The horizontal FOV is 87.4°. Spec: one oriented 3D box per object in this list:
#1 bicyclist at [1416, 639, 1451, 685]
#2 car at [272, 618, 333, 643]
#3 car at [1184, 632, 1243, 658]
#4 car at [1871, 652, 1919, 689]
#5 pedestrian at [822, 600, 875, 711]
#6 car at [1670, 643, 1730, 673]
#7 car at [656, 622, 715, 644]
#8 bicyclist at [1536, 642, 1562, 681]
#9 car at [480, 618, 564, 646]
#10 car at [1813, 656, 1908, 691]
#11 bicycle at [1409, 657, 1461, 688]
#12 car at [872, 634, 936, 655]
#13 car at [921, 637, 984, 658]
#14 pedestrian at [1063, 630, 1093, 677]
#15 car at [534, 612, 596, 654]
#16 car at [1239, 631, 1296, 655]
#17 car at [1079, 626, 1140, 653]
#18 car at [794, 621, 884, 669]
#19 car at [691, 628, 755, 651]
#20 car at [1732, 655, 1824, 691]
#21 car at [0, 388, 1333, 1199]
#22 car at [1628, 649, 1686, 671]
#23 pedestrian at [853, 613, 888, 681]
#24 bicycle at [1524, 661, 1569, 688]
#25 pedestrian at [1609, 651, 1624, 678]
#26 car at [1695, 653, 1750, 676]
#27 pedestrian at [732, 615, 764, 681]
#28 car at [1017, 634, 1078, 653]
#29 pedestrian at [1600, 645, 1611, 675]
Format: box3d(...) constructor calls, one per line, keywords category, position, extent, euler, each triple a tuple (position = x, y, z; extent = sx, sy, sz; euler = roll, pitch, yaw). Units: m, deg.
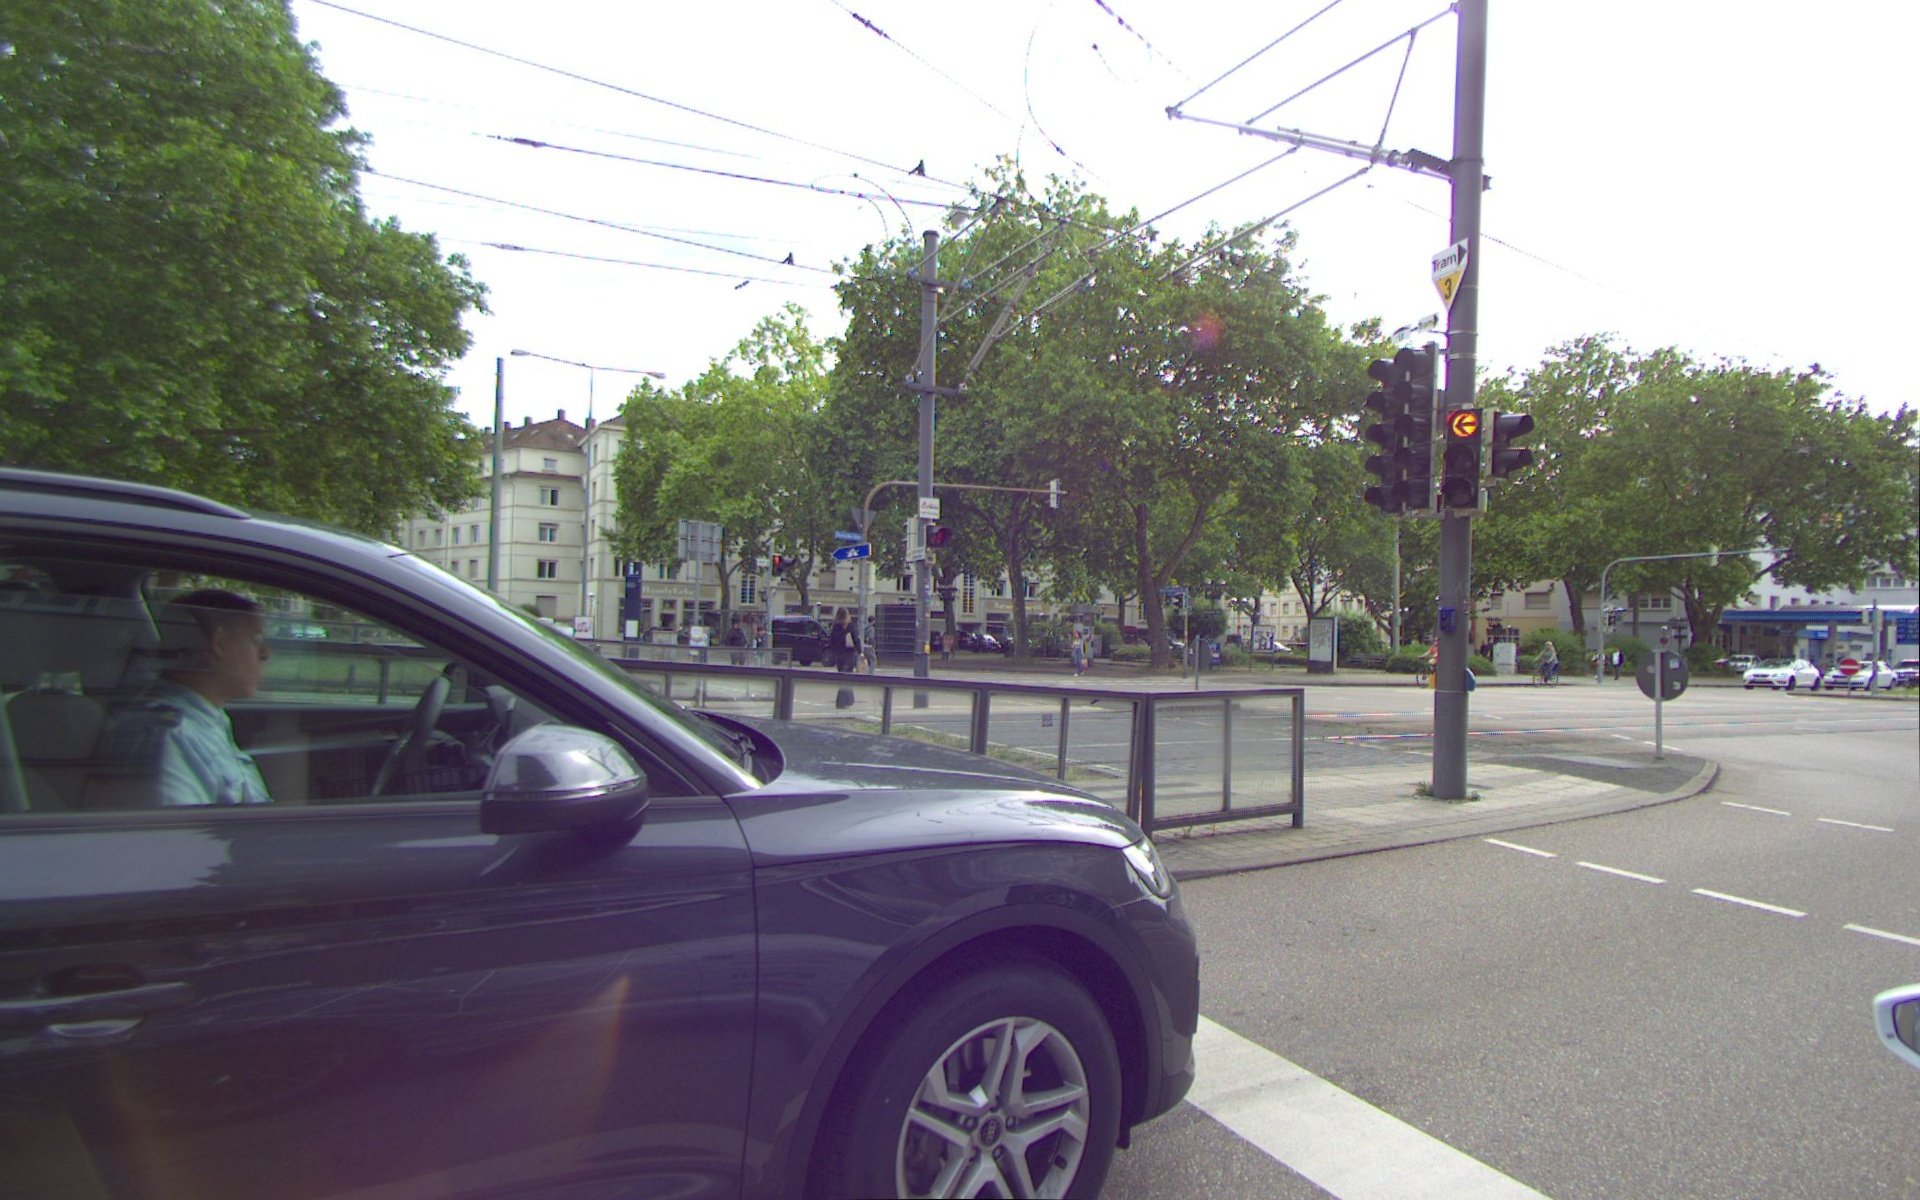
box3d(category="bicyclist", position=(17.234, 2.254, 36.538), extent=(0.983, 1.659, 0.702), euler=(2, -3, -31))
box3d(category="car", position=(-41.046, 1.890, 62.658), extent=(3.932, 1.439, 1.757), euler=(1, -2, 34))
box3d(category="car", position=(22.733, 4.021, 90.146), extent=(4.766, 2.129, 2.071), euler=(0, -2, 44))
box3d(category="car", position=(50.484, 3.732, 53.285), extent=(5.088, 1.807, 1.695), euler=(3, -1, -30))
box3d(category="pedestrian", position=(-1.846, 0.903, 16.572), extent=(0.619, 1.773, 0.652), euler=(2, 0, -28))
box3d(category="car", position=(51.444, 4.030, 69.830), extent=(3.953, 2.040, 1.984), euler=(2, -2, -30))
box3d(category="car", position=(-20.621, 2.489, 75.523), extent=(3.953, 1.505, 1.788), euler=(2, -2, -30))
box3d(category="bicyclist", position=(24.217, 2.540, 41.307), extent=(0.748, 1.582, 0.580), euler=(2, -4, -30))
box3d(category="car", position=(-29.218, 2.147, 67.059), extent=(4.789, 1.685, 1.979), euler=(3, -2, -38))
box3d(category="car", position=(44.639, 3.632, 49.770), extent=(5.636, 1.546, 1.832), euler=(3, -1, -30))
box3d(category="bicycle", position=(17.291, 2.647, 36.567), extent=(1.970, 1.078, 0.723), euler=(3, -4, -31))
box3d(category="car", position=(-4.199, 3.316, 74.902), extent=(4.766, 1.408, 2.071), euler=(0, -2, 44))
box3d(category="car", position=(-0.583, 3.613, 76.868), extent=(4.766, 1.408, 2.071), euler=(0, -2, 44))
box3d(category="pedestrian", position=(4.396, 1.982, 37.362), extent=(0.748, 1.712, 0.799), euler=(2, -2, -34))
box3d(category="car", position=(-17.222, 1.483, 43.728), extent=(1.648, 1.741, 3.702), euler=(2, -4, -36))
box3d(category="car", position=(29.066, 4.026, 95.079), extent=(4.766, 2.129, 2.071), euler=(0, -2, 44))
box3d(category="car", position=(12.471, 3.258, 83.980), extent=(4.766, 2.129, 2.071), euler=(0, -2, 44))
box3d(category="car", position=(-4.727, 1.781, 38.934), extent=(1.894, 1.741, 3.702), euler=(2, -4, -36))
box3d(category="car", position=(-16.098, 2.672, 68.063), extent=(4.766, 1.408, 1.988), euler=(0, -2, 44))
box3d(category="car", position=(37.460, 3.326, 45.966), extent=(4.362, 1.467, 1.833), euler=(3, -1, -30))
box3d(category="car", position=(-1.454, 0.577, 2.158), extent=(4.317, 1.669, 1.902), euler=(3, -1, -30))
box3d(category="car", position=(50.238, 4.316, 72.360), extent=(3.953, 1.485, 1.984), euler=(2, -2, -30))
box3d(category="pedestrian", position=(-2.577, 1.338, 28.933), extent=(0.683, 1.911, 0.680), euler=(2, 0, -41))
box3d(category="bicycle", position=(24.105, 3.045, 41.260), extent=(1.969, 1.078, 0.724), euler=(3, -4, -30))
box3d(category="pedestrian", position=(32.778, 3.220, 50.149), extent=(0.465, 1.343, 0.452), euler=(2, -2, -36))
box3d(category="car", position=(50.443, 4.261, 66.456), extent=(3.363, 1.376, 1.695), euler=(3, -1, -29))
box3d(category="pedestrian", position=(-5.355, 1.197, 25.349), extent=(0.517, 1.633, 0.523), euler=(2, 0, 28))
box3d(category="car", position=(7.158, 3.591, 82.421), extent=(4.766, 1.408, 2.071), euler=(0, -2, 44))
box3d(category="pedestrian", position=(32.405, 3.028, 50.443), extent=(0.370, 1.498, 0.358), euler=(2, -1, -36))
